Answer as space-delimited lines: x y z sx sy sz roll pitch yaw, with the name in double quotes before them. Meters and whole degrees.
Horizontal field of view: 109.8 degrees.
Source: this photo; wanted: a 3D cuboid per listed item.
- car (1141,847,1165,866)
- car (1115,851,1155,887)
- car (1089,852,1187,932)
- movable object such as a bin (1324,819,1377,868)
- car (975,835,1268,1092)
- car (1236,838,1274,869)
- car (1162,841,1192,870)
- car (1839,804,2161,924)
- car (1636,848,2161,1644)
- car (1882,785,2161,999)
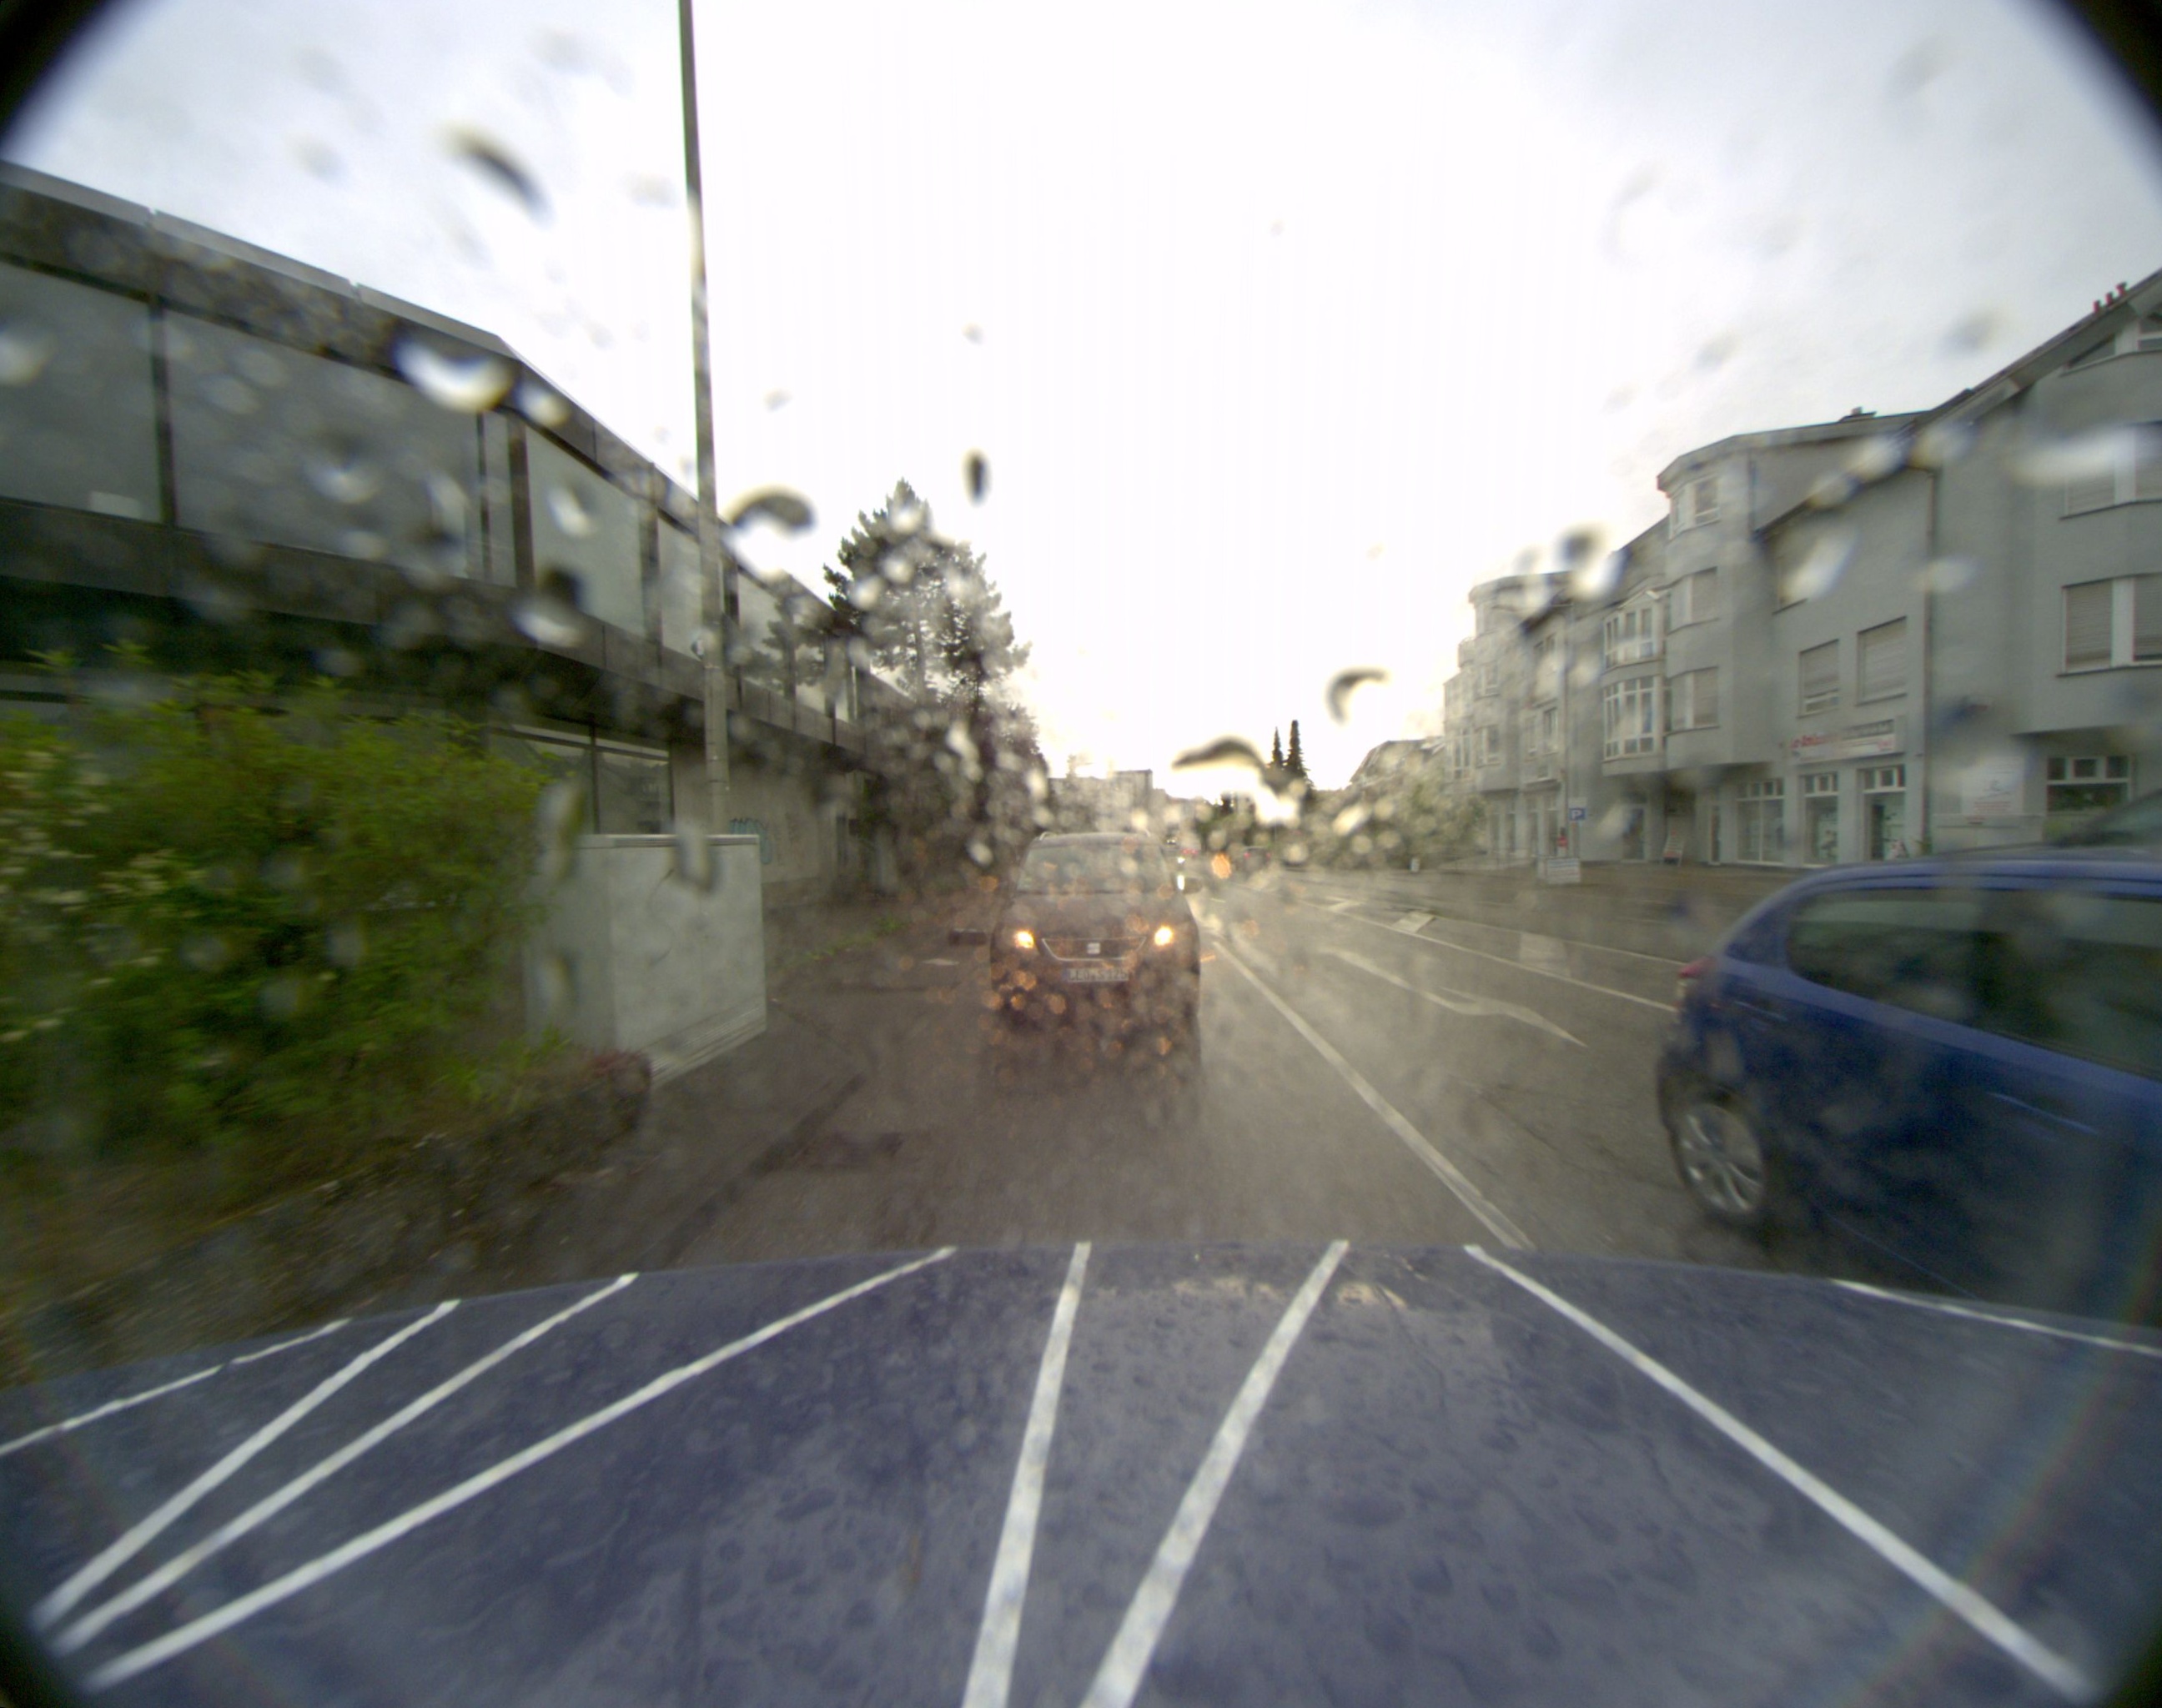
"car" 7.458 0.261 78.878 1.999 1.849 3.999 0 1 -1
"car" 3.046 0.802 42.018 1.997 1.849 4.002 0 1 7
"car" 1.123 0.729 16.856 1.829 1.431 4.344 -3 1 1
"movable object such as a bin" 16.605 -0.619 46.848 2.922 2.825 2.199 -2 1 18
"car" 0.333 0.750 7.702 1.998 1.739 4.648 -3 1 1
"car" 12.077 -0.042 52.949 1.998 2.002 4.001 -2 0 5
"car" 7.051 0.101 56.065 1.997 2.002 4.002 -2 0 6
"car" 16.045 0.085 12.164 5.475 1.674 2.148 -2 1 4
"car" 2.974 0.795 1.290 1.651 1.547 3.351 -2 1 2
"car" 10.221 0.286 6.305 2.102 1.822 4.732 -2 1 -1
